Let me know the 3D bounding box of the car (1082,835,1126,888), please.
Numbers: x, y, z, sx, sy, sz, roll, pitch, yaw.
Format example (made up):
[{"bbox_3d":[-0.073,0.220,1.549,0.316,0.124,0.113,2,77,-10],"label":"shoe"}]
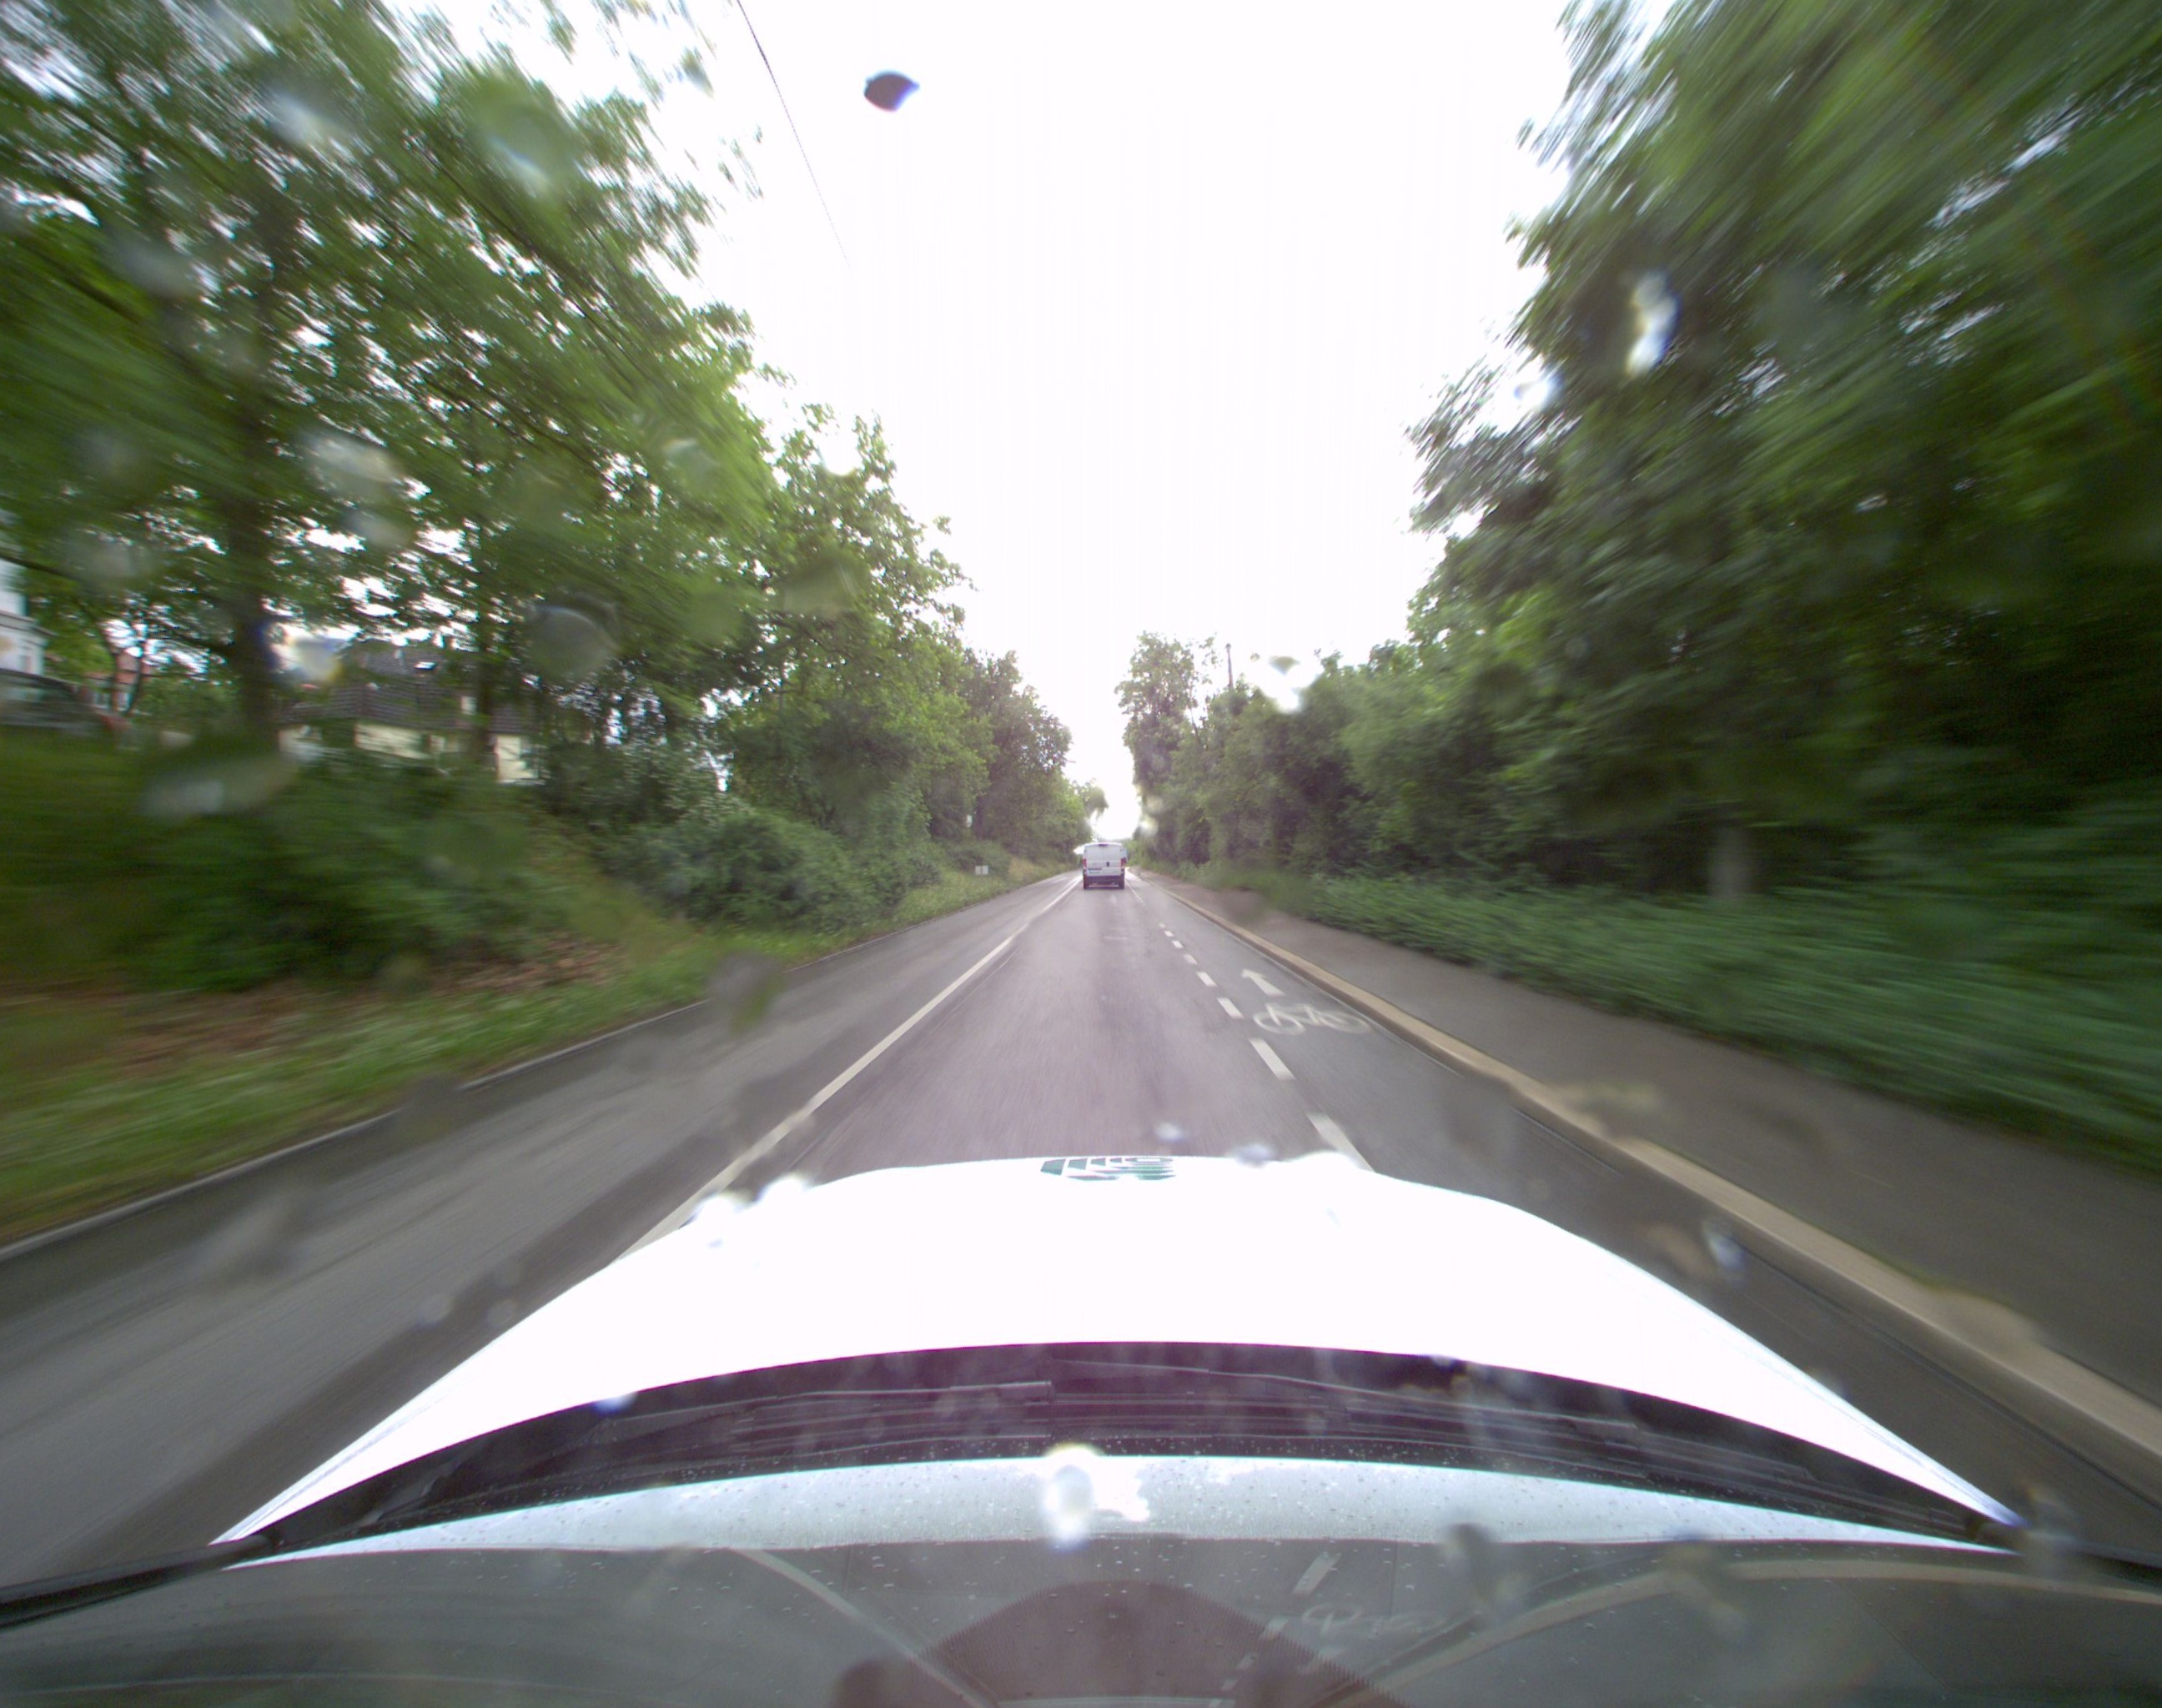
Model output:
[{"bbox_3d":[1.198,0.340,41.439,2.042,2.516,4.946,1,0,2],"label":"car"}]

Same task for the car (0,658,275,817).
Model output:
[{"bbox_3d":[-12.502,-1.349,10.105,1.547,1.440,3.380,-2,-2,2],"label":"car"}]

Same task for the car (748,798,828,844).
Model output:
[{"bbox_3d":[-11.496,-1.274,32.207,1.745,1.662,3.445,-2,2,2],"label":"car"}]
